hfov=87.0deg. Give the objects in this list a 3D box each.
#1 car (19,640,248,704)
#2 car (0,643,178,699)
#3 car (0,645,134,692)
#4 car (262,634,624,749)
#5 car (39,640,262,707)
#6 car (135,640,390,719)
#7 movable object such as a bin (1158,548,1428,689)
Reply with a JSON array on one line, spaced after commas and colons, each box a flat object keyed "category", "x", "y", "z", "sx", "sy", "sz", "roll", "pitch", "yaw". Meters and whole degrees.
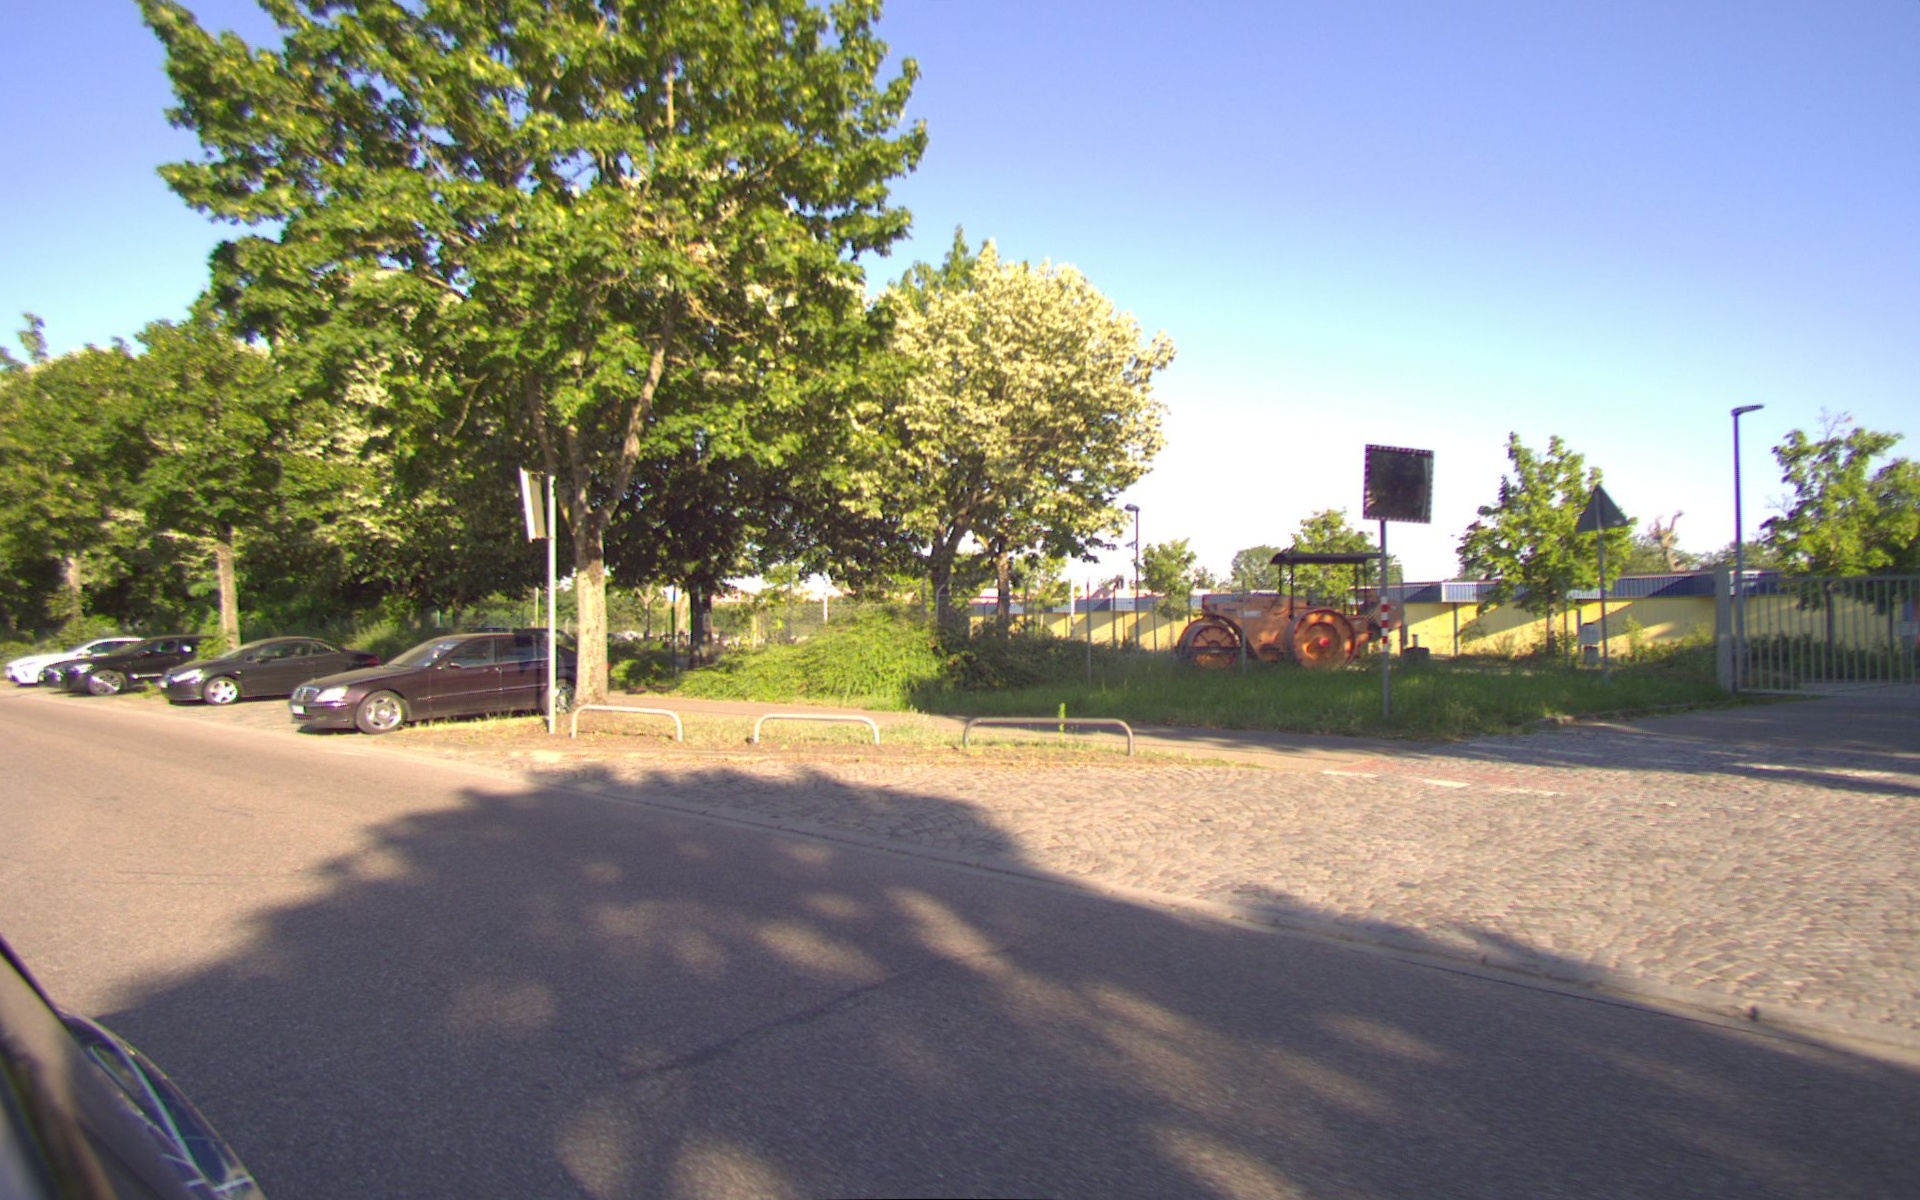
[{"category": "car", "x": -23.865, "y": 2.020, "z": 29.425, "sx": 1.995, "sy": 1.542, "sz": 4.809, "roll": -2, "pitch": -1, "yaw": 34}, {"category": "car", "x": -27.997, "y": 2.220, "z": 32.478, "sx": 1.997, "sy": 1.542, "sz": 4.245, "roll": -2, "pitch": -1, "yaw": 38}, {"category": "car", "x": -32.507, "y": 2.412, "z": 35.945, "sx": 1.912, "sy": 1.432, "sz": 4.609, "roll": -2, "pitch": -1, "yaw": 35}, {"category": "car", "x": -8.320, "y": 1.370, "z": 16.769, "sx": 1.997, "sy": 1.473, "sz": 4.988, "roll": -2, "pitch": -1, "yaw": 37}, {"category": "car", "x": -22.034, "y": 1.936, "z": 27.701, "sx": 1.997, "sy": 1.542, "sz": 4.438, "roll": -2, "pitch": -1, "yaw": 37}, {"category": "car", "x": -15.881, "y": 1.734, "z": 23.243, "sx": 1.997, "sy": 1.473, "sz": 4.438, "roll": -2, "pitch": -1, "yaw": 37}, {"category": "movable object such as a bin", "x": 6.616, "y": 0.407, "z": 20.602, "sx": 4.740, "sy": 2.685, "sz": 2.163, "roll": 0, "pitch": -3, "yaw": 2}]
